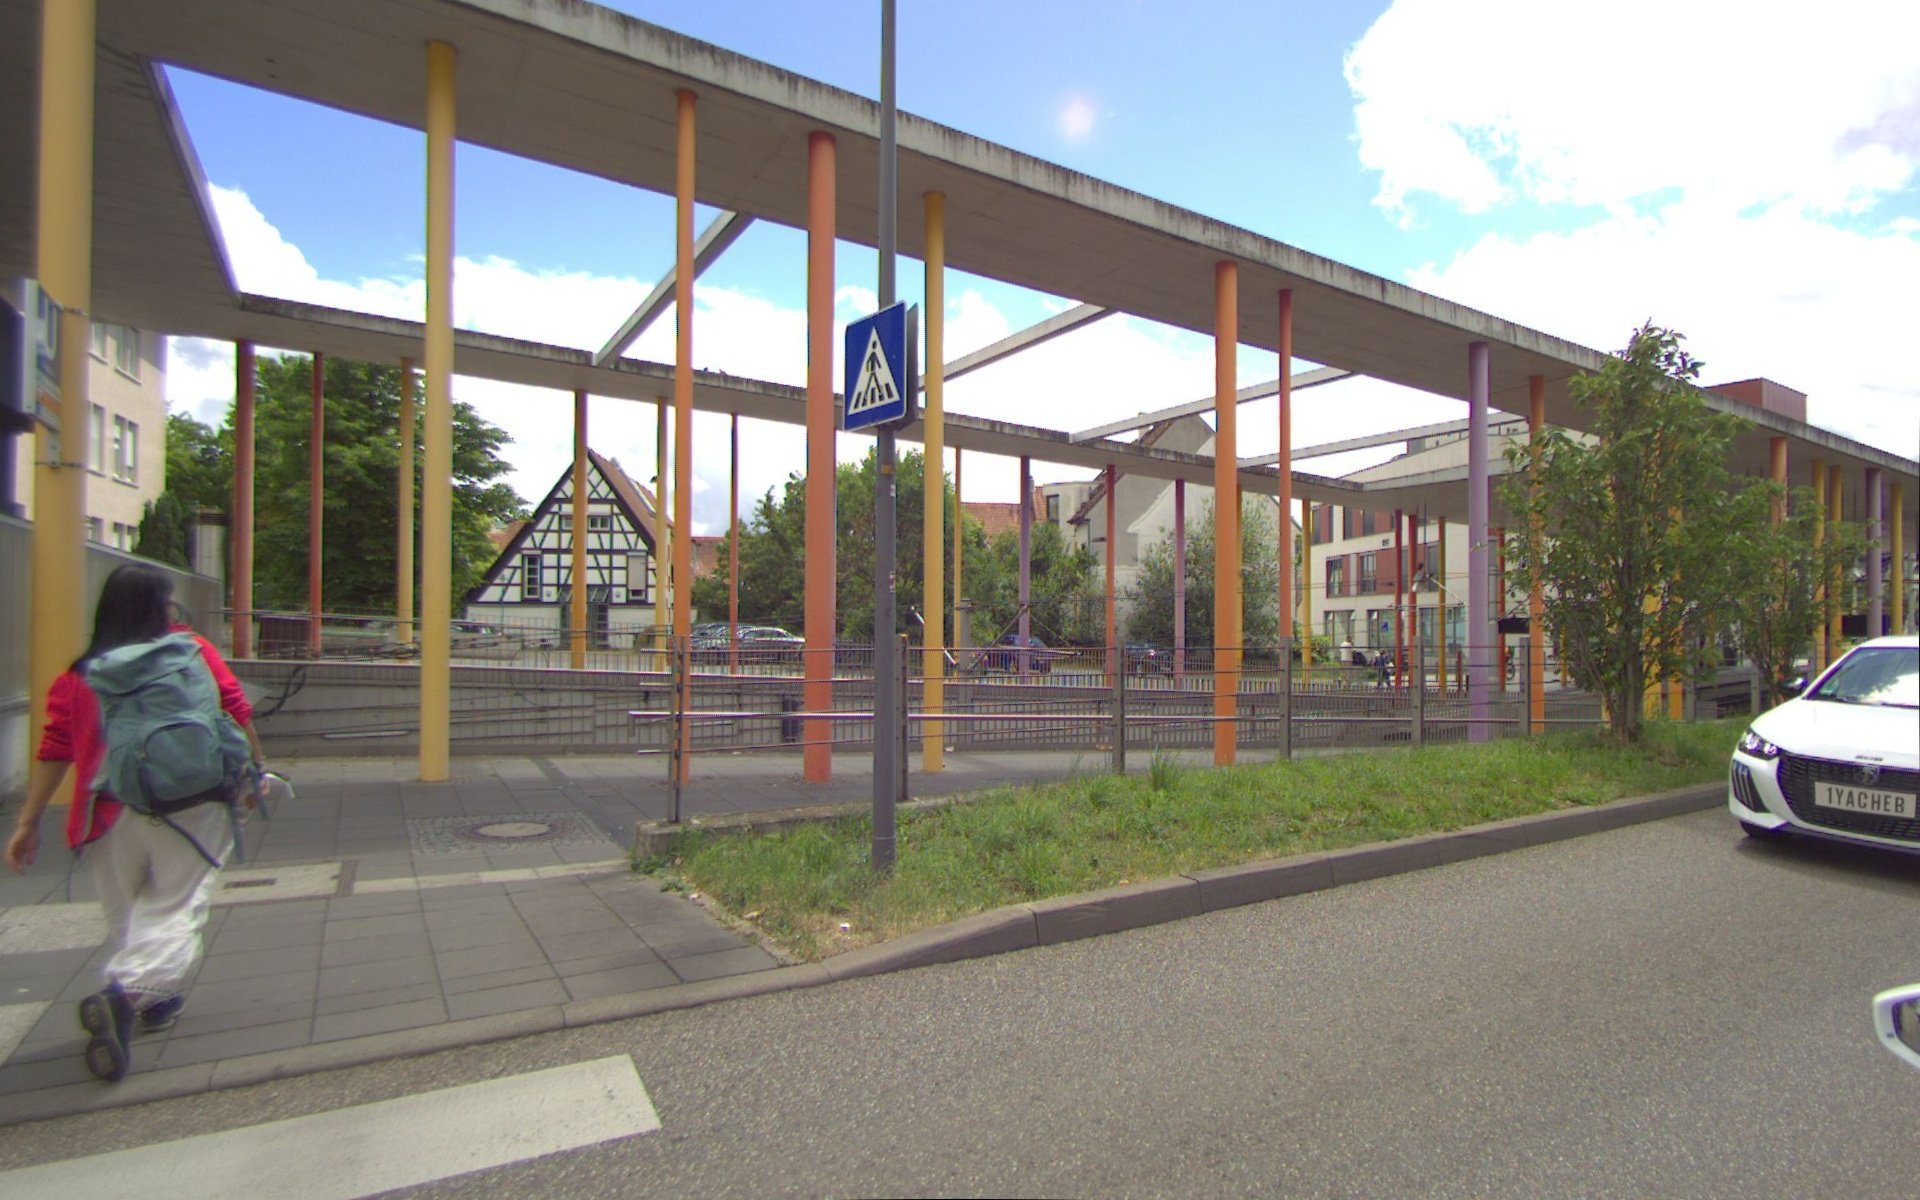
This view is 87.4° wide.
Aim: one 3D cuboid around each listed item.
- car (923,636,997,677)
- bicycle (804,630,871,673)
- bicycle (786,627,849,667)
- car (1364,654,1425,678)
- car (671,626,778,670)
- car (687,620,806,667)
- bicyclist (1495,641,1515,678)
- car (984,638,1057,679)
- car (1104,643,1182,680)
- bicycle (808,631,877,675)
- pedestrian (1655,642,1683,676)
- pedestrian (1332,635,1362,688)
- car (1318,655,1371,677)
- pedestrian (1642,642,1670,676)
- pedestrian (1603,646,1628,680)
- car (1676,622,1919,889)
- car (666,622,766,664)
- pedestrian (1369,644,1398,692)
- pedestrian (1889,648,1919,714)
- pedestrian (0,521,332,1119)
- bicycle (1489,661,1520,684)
[{"bbox_3d":[-0.051,2.120,38.469,1.698,1.354,3.985,3,-1,-17],"label":"car"},{"bbox_3d":[-3.934,1.657,32.216,2.029,1.286,0.531,3,-1,-20],"label":"bicycle"},{"bbox_3d":[-4.871,1.600,34.414,2.029,1.286,0.531,3,-1,-20],"label":"bicycle"},{"bbox_3d":[25.975,3.960,60.104,1.618,1.341,3.714,3,-5,-9],"label":"car"},{"bbox_3d":[-9.433,1.914,40.228,3.940,1.595,1.906,3,-1,-20],"label":"car"},{"bbox_3d":[-8.177,1.650,38.464,4.203,1.595,1.906,3,-1,-20],"label":"car"},{"bbox_3d":[24.386,2.661,44.964,0.673,1.614,0.481,3,-1,-30],"label":"bicyclist"},{"bbox_3d":[2.345,2.299,39.948,1.545,1.419,3.985,3,-1,-17],"label":"car"},{"bbox_3d":[7.689,2.574,42.618,1.545,1.354,3.985,3,-1,-17],"label":"car"},{"bbox_3d":[-3.687,1.674,31.565,2.029,1.286,0.531,3,-1,-20],"label":"bicycle"},{"bbox_3d":[30.971,2.570,43.889,0.694,1.397,0.818,0,0,-32],"label":"pedestrian"},{"bbox_3d":[14.291,2.286,37.110,0.791,1.908,0.638,3,-1,-33],"label":"pedestrian"},{"bbox_3d":[24.994,4.333,65.428,1.618,1.341,3.714,3,-5,-9],"label":"car"},{"bbox_3d":[30.034,2.525,43.341,0.694,1.397,0.818,0,0,-32],"label":"pedestrian"},{"bbox_3d":[27.523,2.636,42.163,0.694,1.397,0.648,0,0,-32],"label":"pedestrian"},{"bbox_3d":[6.915,0.931,7.008,3.864,1.488,1.801,1,-1,-32],"label":"car"},{"bbox_3d":[-10.375,1.831,42.673,3.940,1.595,1.906,3,-1,-20],"label":"car"},{"bbox_3d":[15.303,2.446,36.294,0.722,1.683,0.638,3,-1,-33],"label":"pedestrian"},{"bbox_3d":[27.360,2.328,28.999,0.702,1.854,0.583,3,-1,-31],"label":"pedestrian"},{"bbox_3d":[-2.547,0.600,3.223,0.807,1.586,0.921,3,-1,-34],"label":"pedestrian"},{"bbox_3d":[24.388,3.257,44.971,1.594,0.975,0.481,3,-1,-31],"label":"bicycle"}]
